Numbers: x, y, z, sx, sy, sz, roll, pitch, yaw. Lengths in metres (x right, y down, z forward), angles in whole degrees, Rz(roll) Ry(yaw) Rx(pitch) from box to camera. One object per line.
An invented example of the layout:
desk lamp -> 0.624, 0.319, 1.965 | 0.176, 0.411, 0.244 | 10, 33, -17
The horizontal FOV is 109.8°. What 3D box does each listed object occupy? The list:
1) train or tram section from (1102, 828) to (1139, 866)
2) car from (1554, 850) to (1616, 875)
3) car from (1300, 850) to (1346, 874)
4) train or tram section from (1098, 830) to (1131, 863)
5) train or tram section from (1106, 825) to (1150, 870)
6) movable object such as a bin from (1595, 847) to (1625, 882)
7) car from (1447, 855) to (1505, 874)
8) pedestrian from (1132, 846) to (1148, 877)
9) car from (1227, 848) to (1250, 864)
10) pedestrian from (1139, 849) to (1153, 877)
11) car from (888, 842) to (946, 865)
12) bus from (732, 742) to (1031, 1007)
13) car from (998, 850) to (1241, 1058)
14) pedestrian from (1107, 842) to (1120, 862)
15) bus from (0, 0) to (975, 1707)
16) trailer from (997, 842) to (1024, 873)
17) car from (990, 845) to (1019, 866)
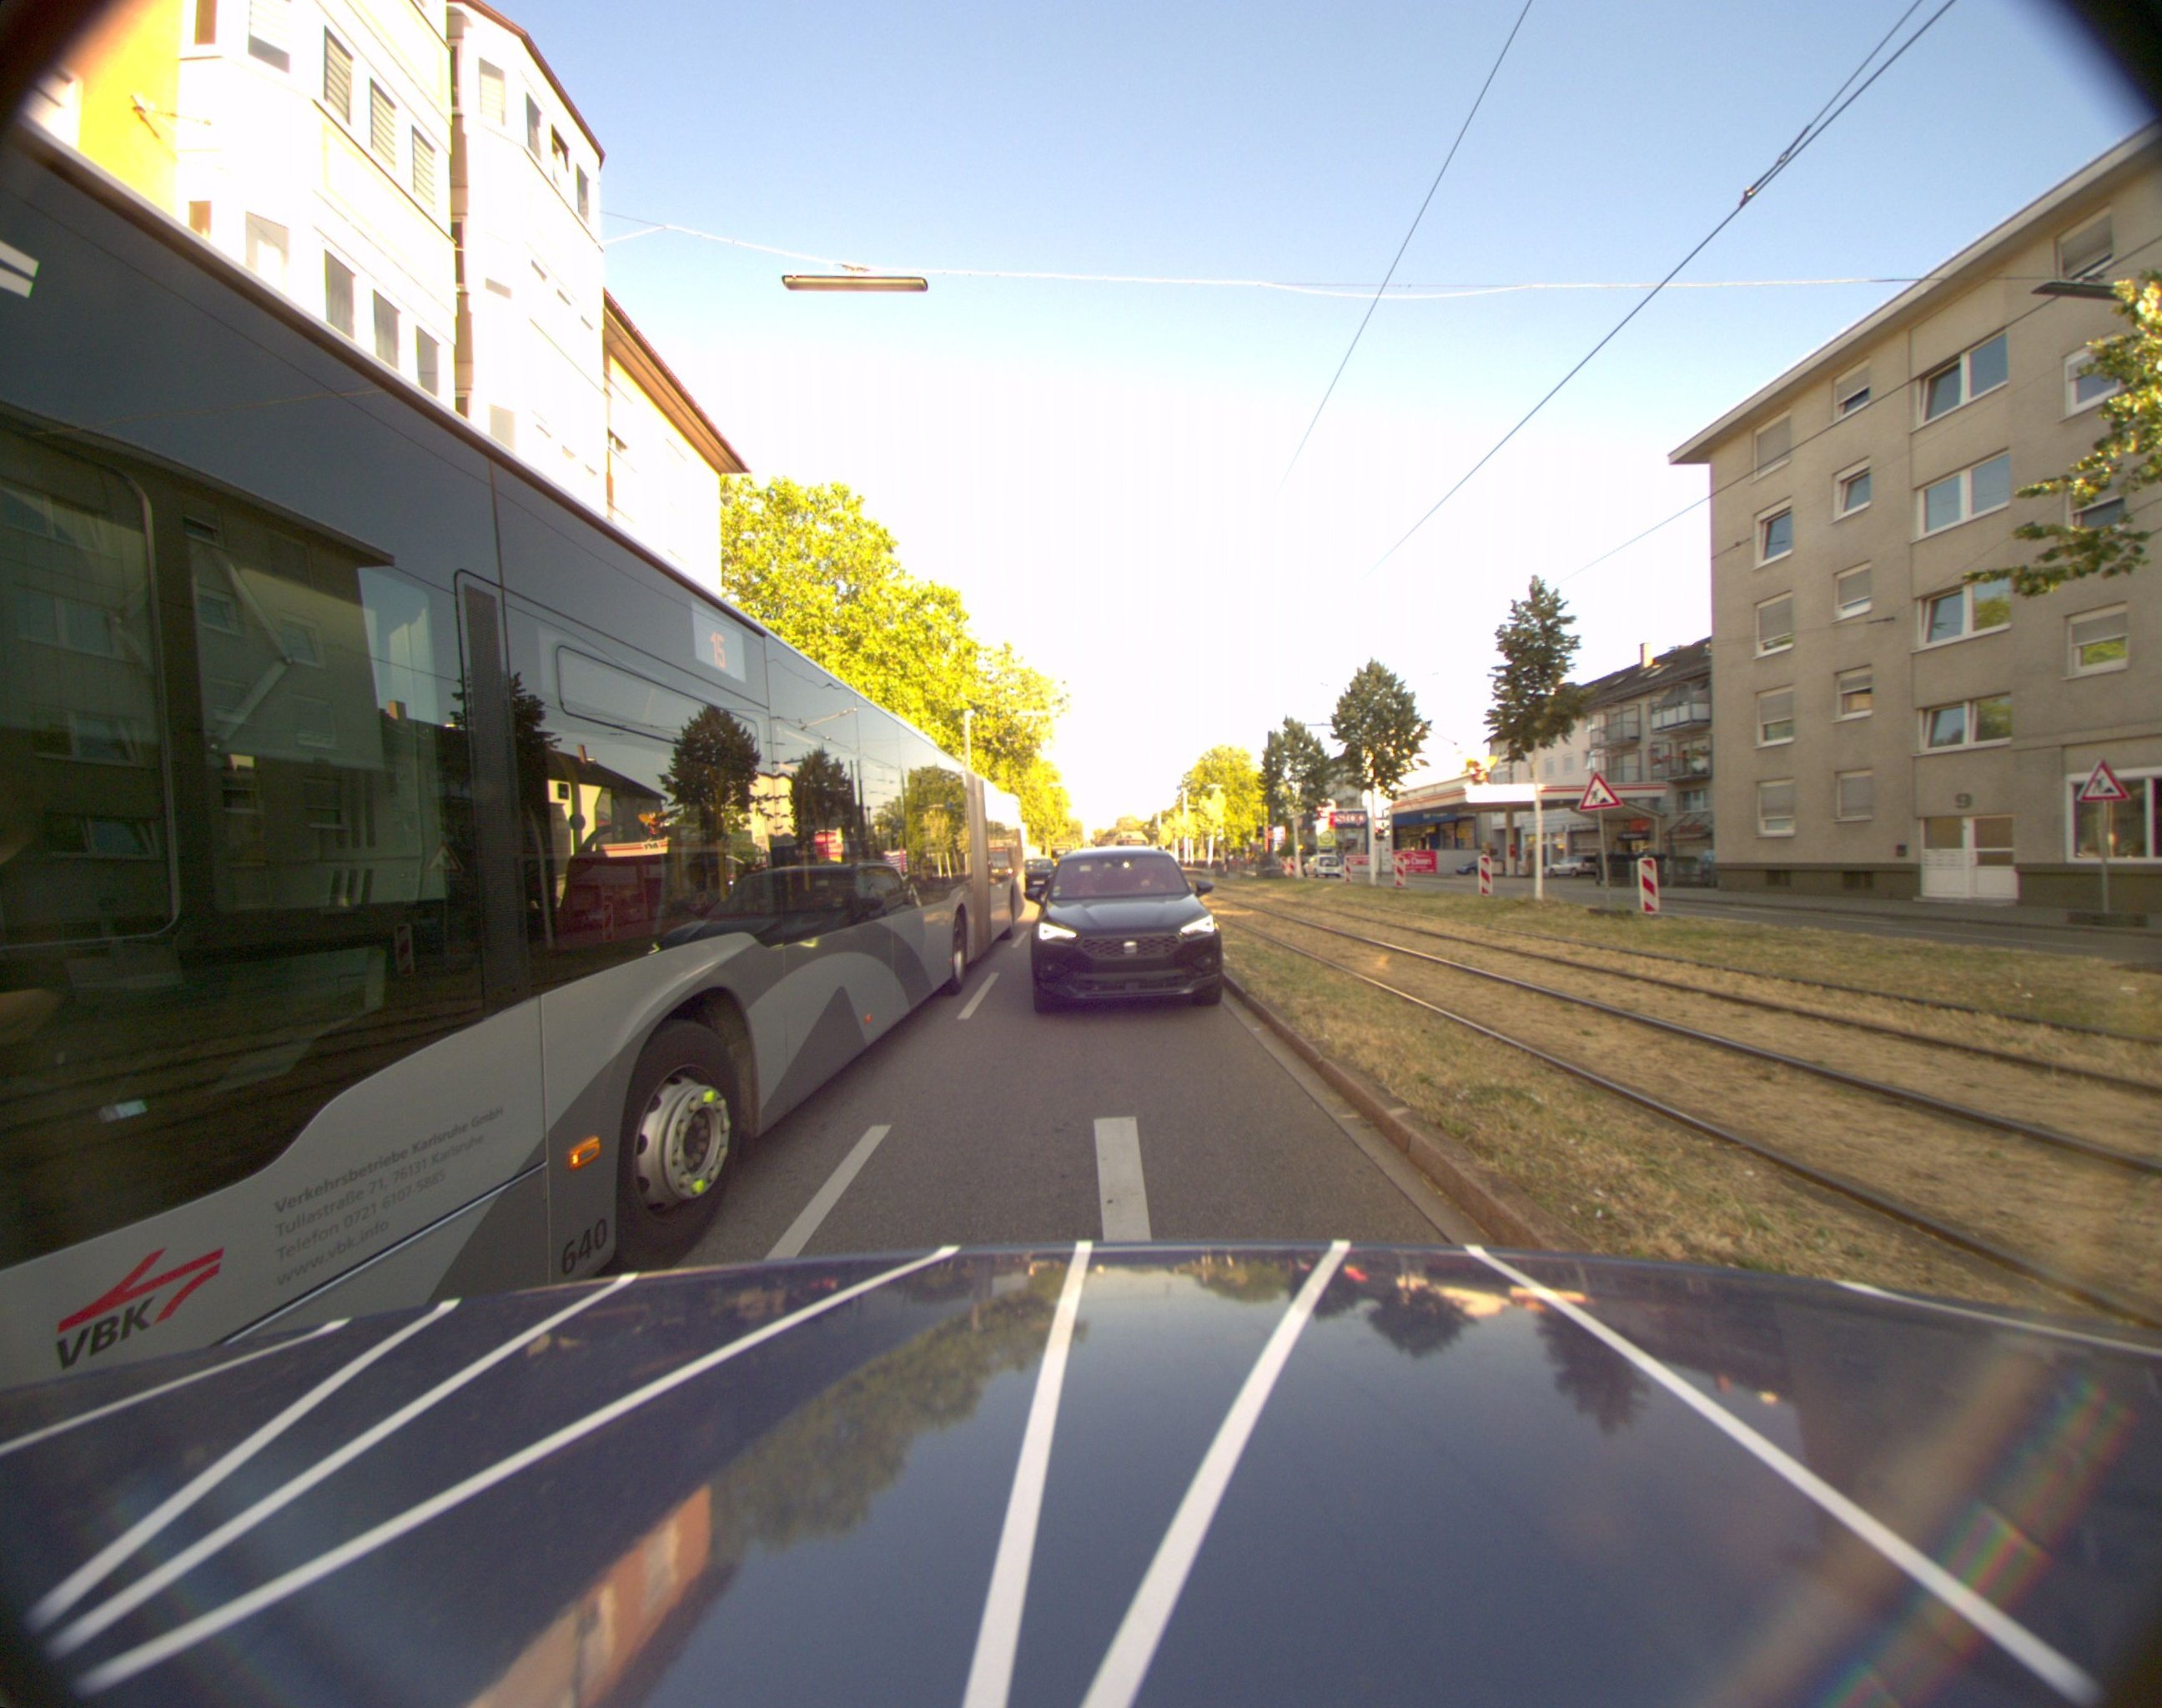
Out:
train or tram section -> 3.777, -0.687, 75.348 | 3.043, 3.497, 10.094 | 0, 1, -1
car -> 33.914, 0.524, 51.255 | 1.816, 1.514, 3.829 | -3, 1, 3
car -> 15.879, 0.506, 49.981 | 1.816, 1.503, 3.829 | 0, 0, 0
train or tram section -> 3.656, -0.803, 85.463 | 3.043, 3.497, 10.094 | 0, 1, -1
train or tram section -> 3.903, -0.567, 65.243 | 3.043, 3.497, 10.094 | 0, 1, -1
movable object such as a bin -> 21.302, 0.435, 30.605 | 0.665, 1.392, 0.749 | -1, 0, -1
car -> 32.519, 0.859, 62.641 | 3.803, 1.514, 1.818 | -1, 0, 3
pedestrian -> 3.700, 0.467, 47.750 | 0.860, 1.921, 0.755 | -1, 1, -2
car -> 16.699, 0.169, 80.644 | 1.816, 1.551, 4.935 | -1, 1, 5
pedestrian -> 4.142, 0.587, 48.743 | 0.755, 1.737, 0.860 | -1, 1, -3
car -> -13.074, -0.045, 60.748 | 4.122, 1.541, 1.803 | -3, 0, 2
bus -> -2.657, 0.243, 13.453 | 2.745, 3.038, 8.853 | -2, 0, 1
car -> 0.342, 0.820, 8.255 | 1.910, 1.606, 4.085 | -3, 0, 1
pedestrian -> 2.617, -0.169, 61.583 | 0.918, 1.541, 0.788 | -2, 1, -8
bus -> -2.754, 0.252, 4.495 | 2.745, 3.038, 9.131 | -2, 0, 1
trailer -> -6.128, 0.289, 66.457 | 1.890, 2.573, 4.650 | -1, 0, 1
car -> -6.016, 0.135, 59.983 | 1.800, 1.621, 4.000 | 0, 0, 0
